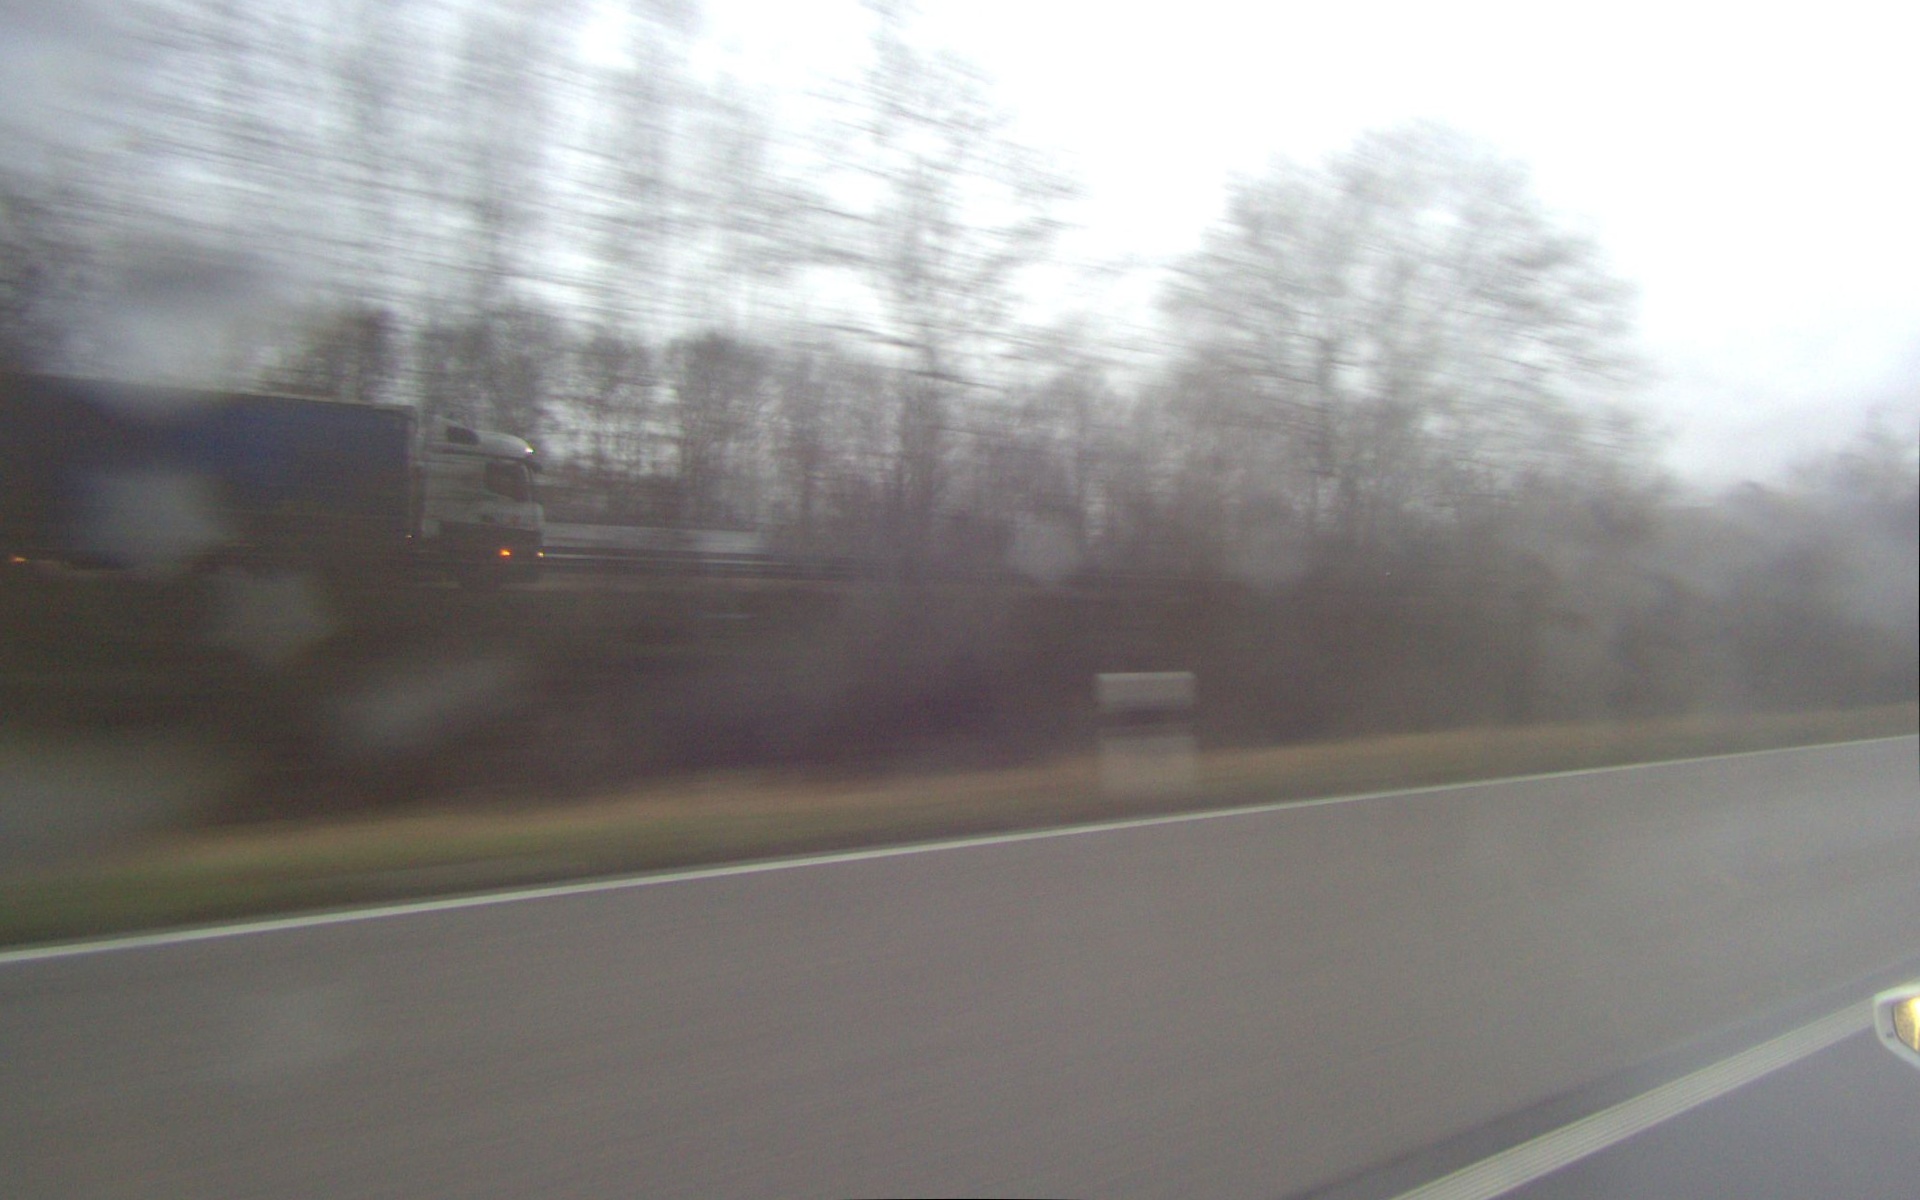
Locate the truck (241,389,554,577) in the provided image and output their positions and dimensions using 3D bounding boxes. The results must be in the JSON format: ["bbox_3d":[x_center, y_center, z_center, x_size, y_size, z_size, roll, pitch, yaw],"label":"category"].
[{"bbox_3d":[-12.803,-2.461,23.368,5.990,3.681,2.980,0,0,-28],"label":"truck"}]

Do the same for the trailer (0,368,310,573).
[{"bbox_3d":[-19.627,-2.519,19.725,11.243,3.682,2.987,0,0,-28],"label":"trailer"}]
